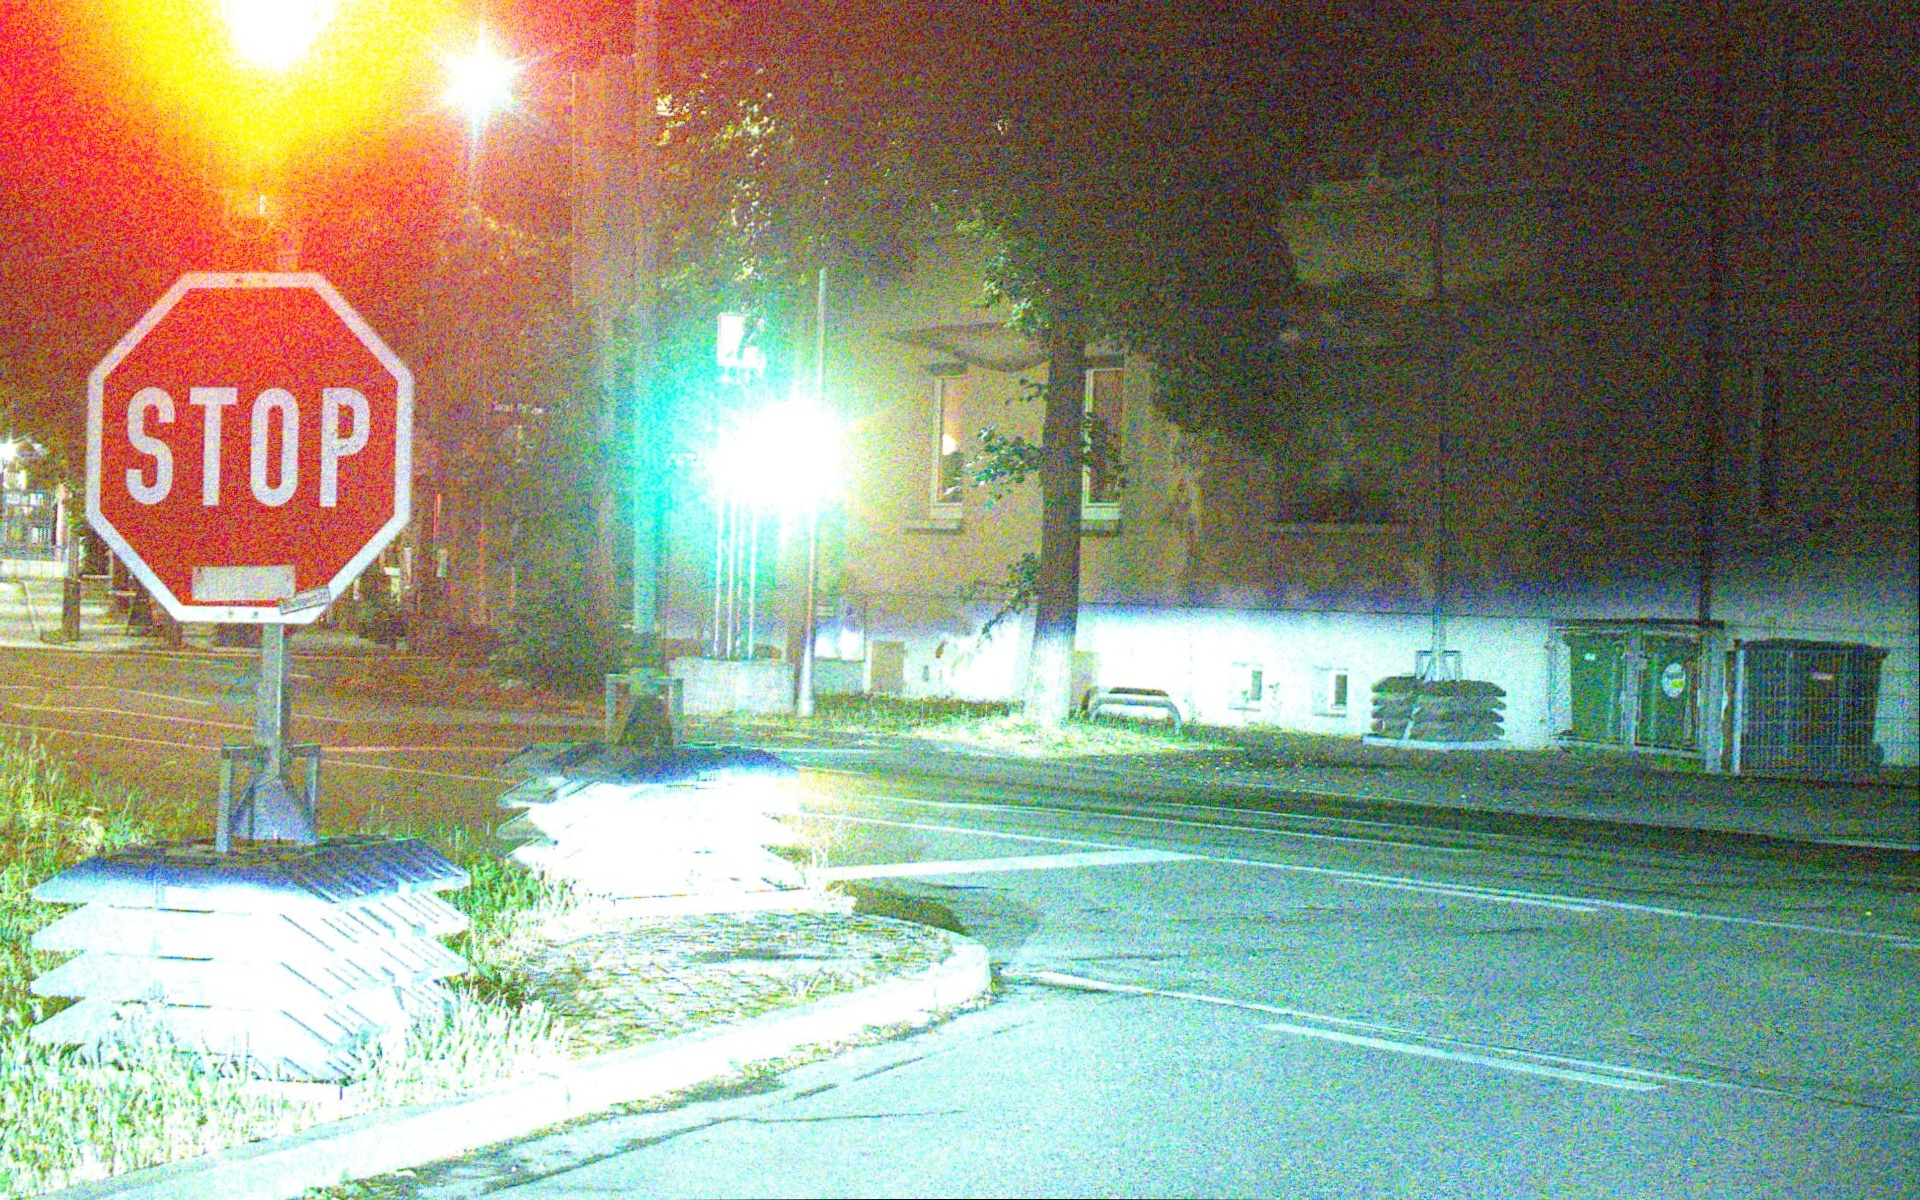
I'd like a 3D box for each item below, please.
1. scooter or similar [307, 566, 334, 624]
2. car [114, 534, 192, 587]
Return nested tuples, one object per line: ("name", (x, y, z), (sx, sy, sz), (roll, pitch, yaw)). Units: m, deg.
("scooter or similar", (-12.811, -0.107, 68.859), (0.421, 1.126, 1.494), (2, 1, -8))
("car", (-24.525, -1.213, 104.406), (1.733, 1.454, 4.729), (3, 0, -19))
